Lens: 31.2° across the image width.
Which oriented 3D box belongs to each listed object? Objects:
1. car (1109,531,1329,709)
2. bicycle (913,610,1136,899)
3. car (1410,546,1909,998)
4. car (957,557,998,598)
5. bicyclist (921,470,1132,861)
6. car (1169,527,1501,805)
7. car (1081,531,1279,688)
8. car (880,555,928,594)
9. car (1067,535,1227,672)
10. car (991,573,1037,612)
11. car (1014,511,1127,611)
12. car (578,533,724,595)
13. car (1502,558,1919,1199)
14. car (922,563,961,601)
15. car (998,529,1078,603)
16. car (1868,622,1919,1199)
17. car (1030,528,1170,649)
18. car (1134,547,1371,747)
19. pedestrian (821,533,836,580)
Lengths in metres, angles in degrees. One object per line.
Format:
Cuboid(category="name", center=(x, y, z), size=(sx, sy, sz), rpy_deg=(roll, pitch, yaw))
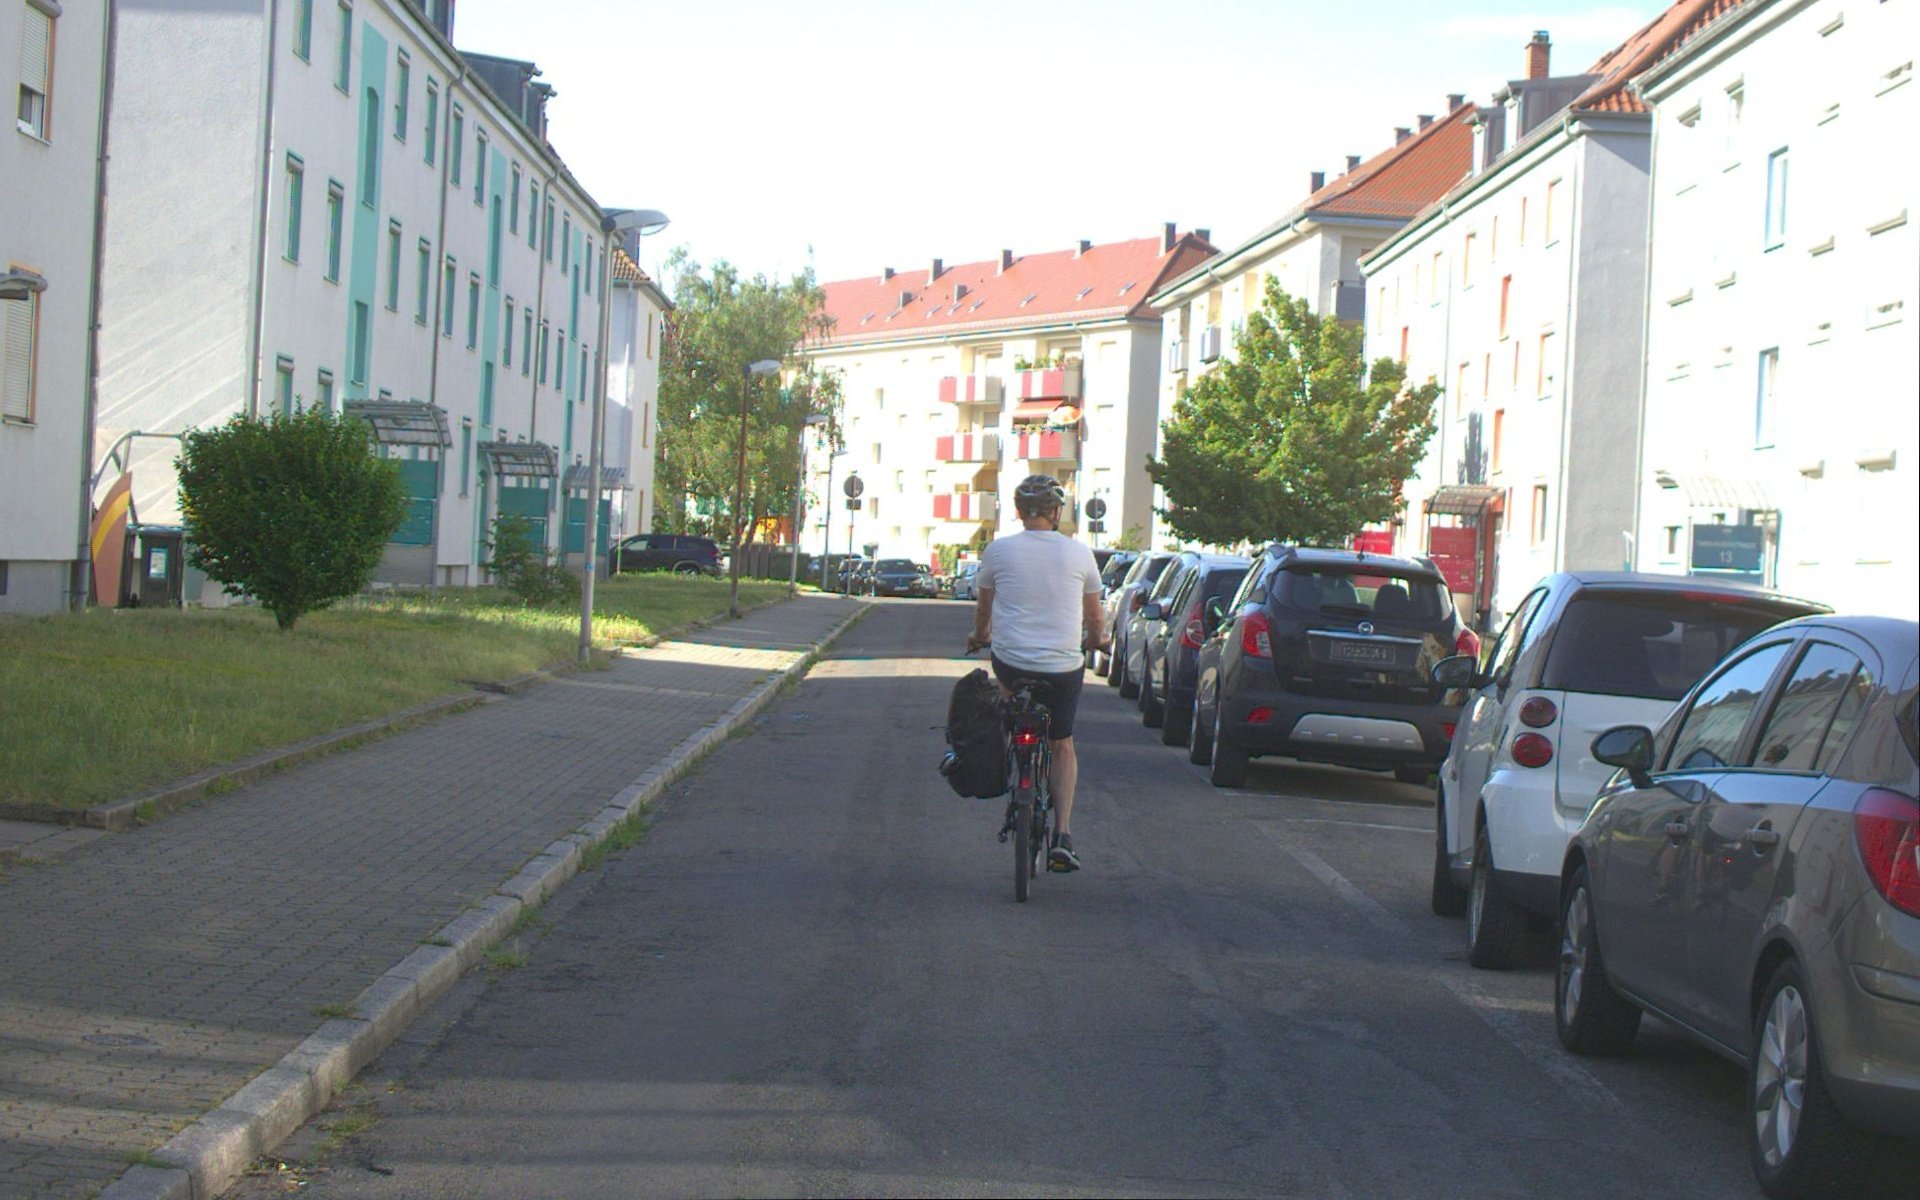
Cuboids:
Cuboid(category="car", center=(2.567, 0.148, 34.981), size=(1.690, 1.569, 4.435), rpy_deg=(5, 1, -1))
Cuboid(category="bicycle", center=(0.254, 0.642, 15.273), size=(0.808, 1.124, 2.102), rpy_deg=(2, 1, -3))
Cuboid(category="car", center=(2.759, 0.615, 14.103), size=(1.480, 1.524, 2.940), rpy_deg=(5, 1, 4))
Cuboid(category="car", center=(0.696, -0.914, 137.538), size=(1.381, 1.492, 3.077), rpy_deg=(4, 1, -2))
Cuboid(category="bicyclist", center=(0.278, 0.274, 15.119), size=(0.808, 1.638, 0.899), rpy_deg=(2, 1, -3))
Cuboid(category="car", center=(2.539, 0.387, 24.279), size=(1.783, 1.642, 4.468), rpy_deg=(5, 1, 1))
Cuboid(category="car", center=(2.562, 0.064, 41.034), size=(1.750, 1.612, 4.452), rpy_deg=(6, 1, -2))
Cuboid(category="car", center=(-1.975, -0.902, 121.074), size=(1.469, 1.331, 3.141), rpy_deg=(0, 1, -5))
Cuboid(category="car", center=(2.469, 0.007, 46.241), size=(1.712, 1.590, 4.398), rpy_deg=(6, 1, -1))
Cuboid(category="car", center=(2.045, -0.308, 130.613), size=(1.469, 1.331, 3.141), rpy_deg=(4, 1, -2))
Cuboid(category="car", center=(2.034, -0.750, 64.480), size=(1.700, 1.665, 4.380), rpy_deg=(5, 1, -2))
Cuboid(category="car", center=(-9.165, -1.078, 102.233), size=(4.231, 1.633, 1.583), rpy_deg=(3, 1, -4))
Cuboid(category="car", center=(2.783, 0.708, 9.628), size=(1.693, 1.486, 3.985), rpy_deg=(5, 1, -1))
Cuboid(category="car", center=(-0.824, -0.808, 150.185), size=(1.469, 1.511, 3.077), rpy_deg=(4, 1, -2))
Cuboid(category="car", center=(1.965, -0.888, 87.995), size=(1.674, 1.733, 3.943), rpy_deg=(4, 1, -2))
Cuboid(category="car", center=(2.835, 0.728, 4.507), size=(1.994, 1.607, 4.995), rpy_deg=(5, 1, 2))
Cuboid(category="car", center=(2.153, -0.200, 53.903), size=(1.862, 1.662, 4.127), rpy_deg=(5, 1, 0))
Cuboid(category="car", center=(2.428, 0.341, 29.376), size=(1.641, 1.493, 4.156), rpy_deg=(3, 1, 1))
Cuboid(category="pedestrian", center=(-4.479, -1.486, 117.082), size=(0.434, 1.569, 0.543), rpy_deg=(2, 1, 0))
